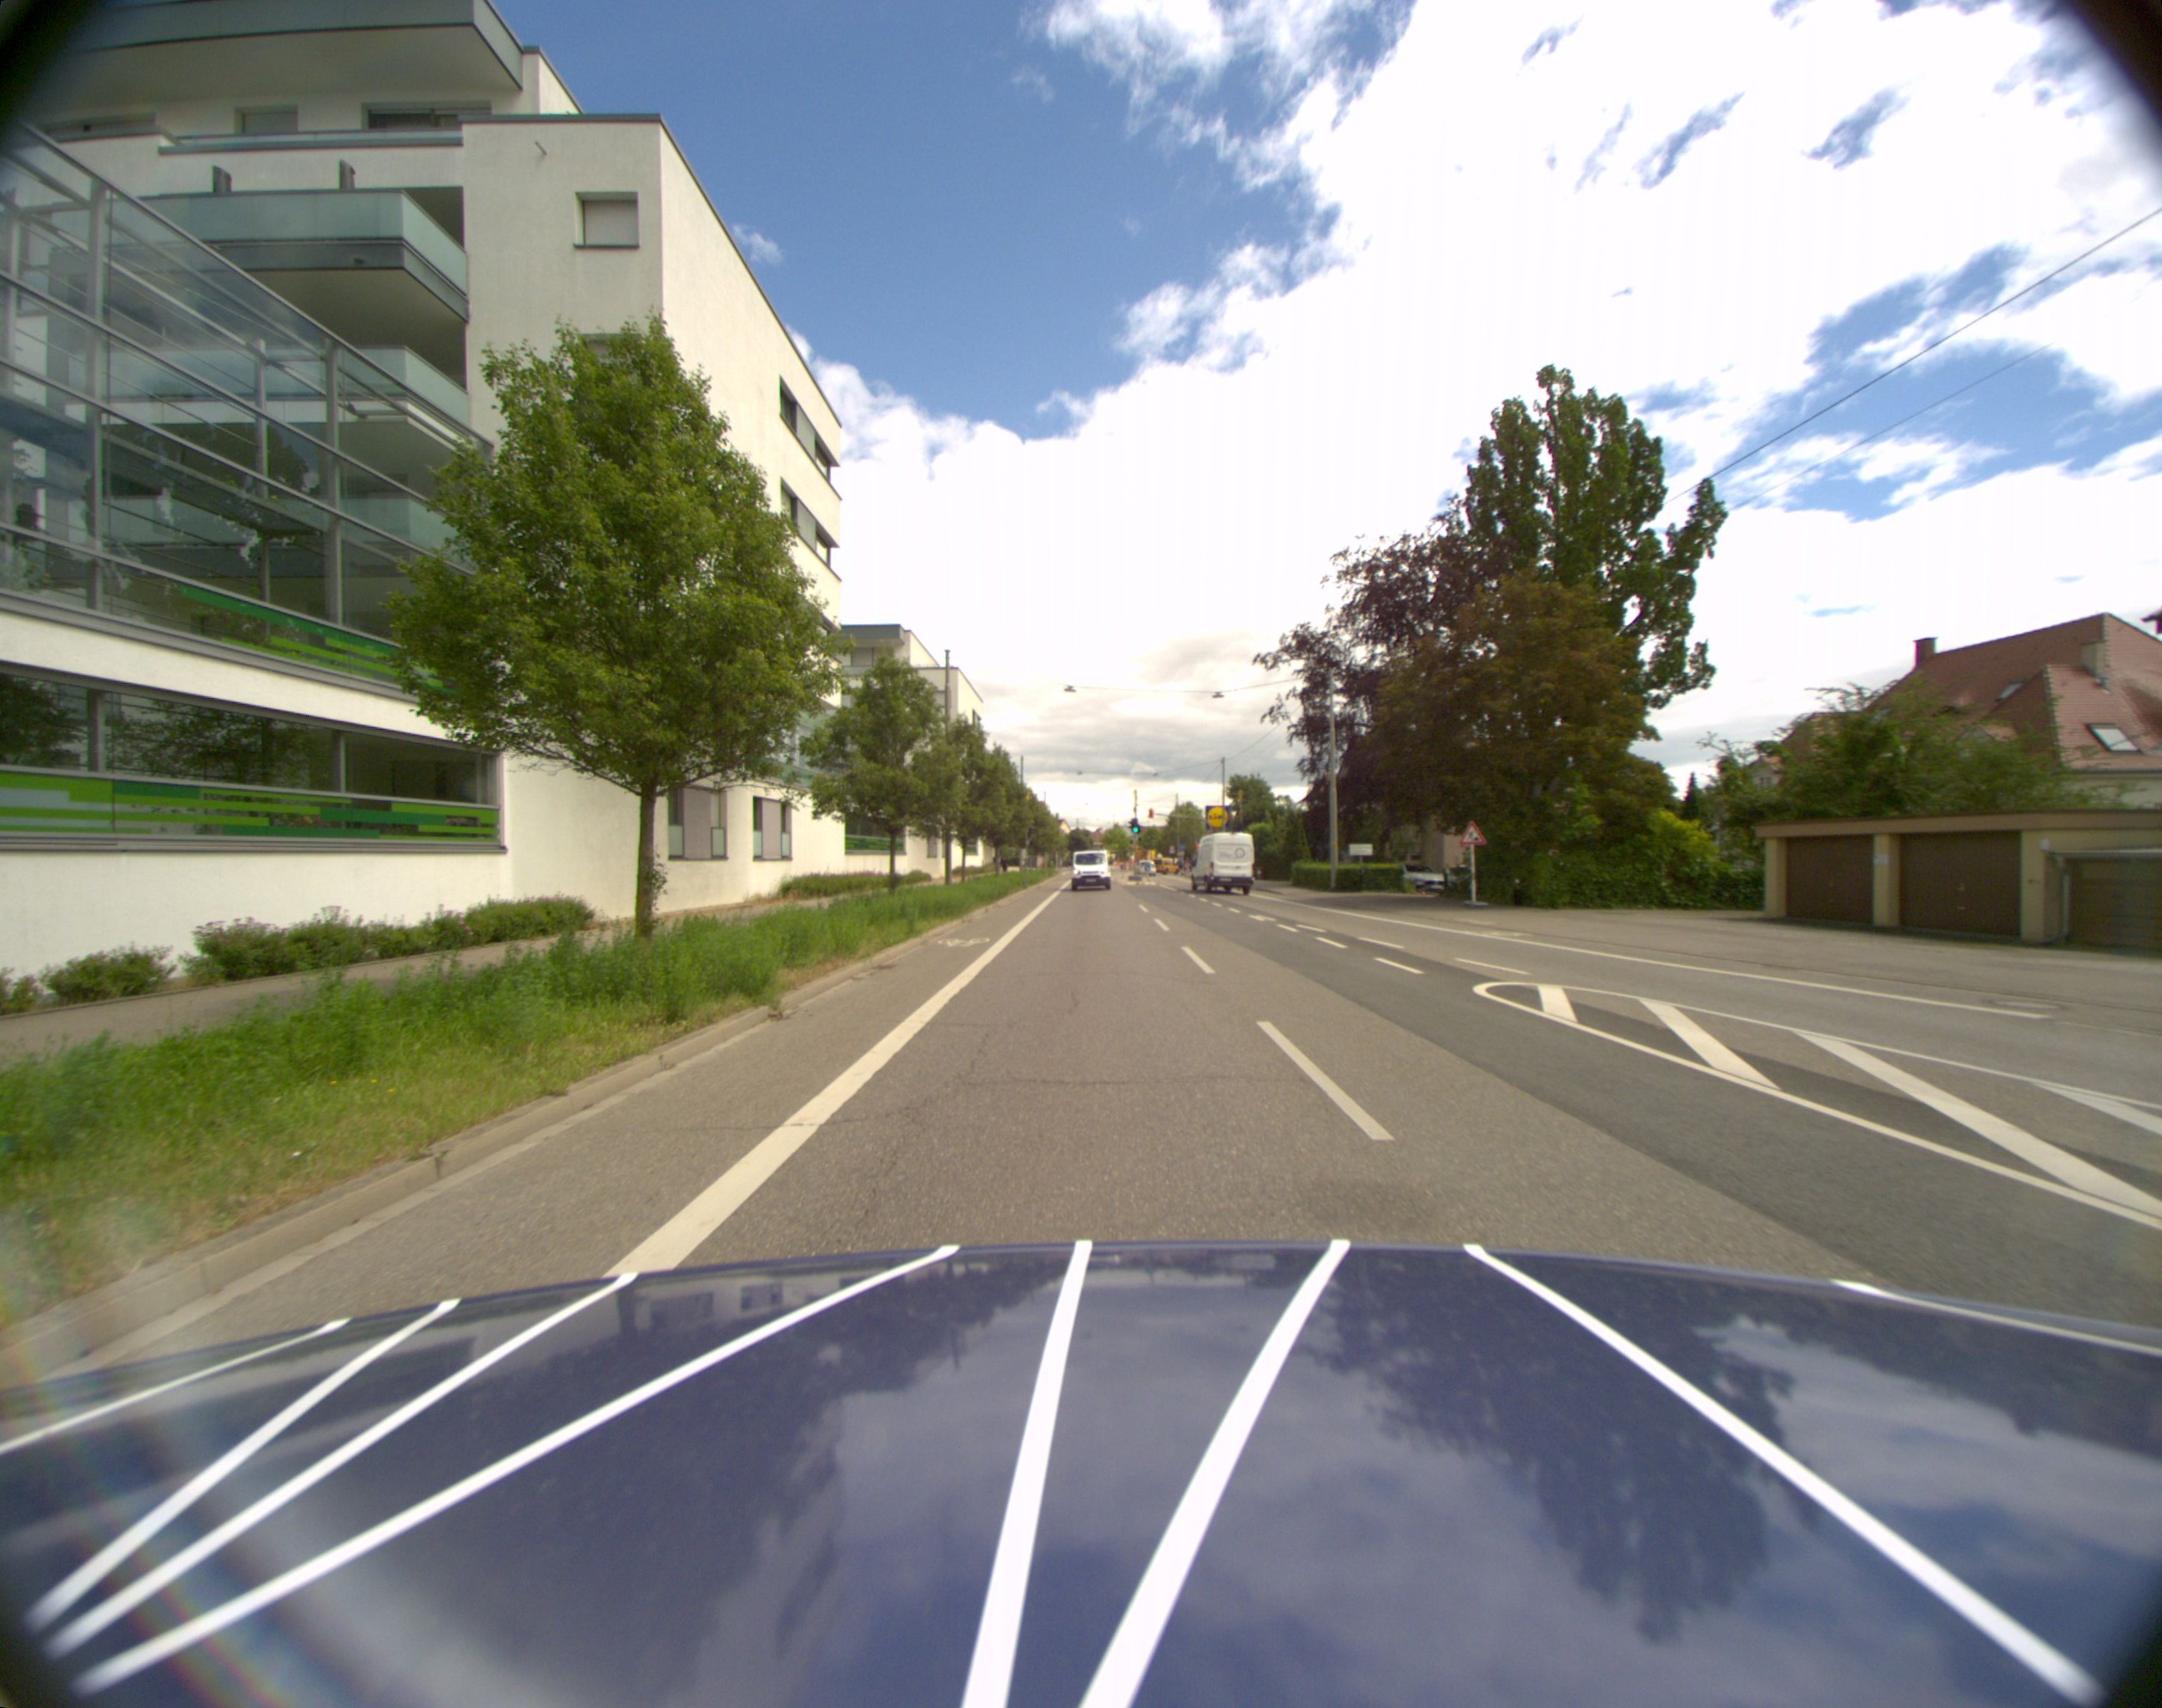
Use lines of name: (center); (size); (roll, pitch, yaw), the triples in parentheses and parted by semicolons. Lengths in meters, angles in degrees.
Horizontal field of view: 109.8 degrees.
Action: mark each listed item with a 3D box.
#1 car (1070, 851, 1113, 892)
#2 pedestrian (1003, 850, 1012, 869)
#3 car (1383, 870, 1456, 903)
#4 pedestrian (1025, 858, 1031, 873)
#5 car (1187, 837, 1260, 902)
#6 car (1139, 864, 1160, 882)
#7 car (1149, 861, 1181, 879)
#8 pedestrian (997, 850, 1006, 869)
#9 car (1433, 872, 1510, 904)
car: (0.502, 0.814, 37.675); (1.998, 1.905, 4.000); (-1, 0, 0)
pedestrian: (-7.247, 0.543, 75.251); (0.742, 1.875, 0.702); (-2, 1, -2)
car: (16.319, 1.523, 36.792); (1.666, 1.380, 3.522); (2, 0, -5)
pedestrian: (-6.036, 1.287, 86.758); (0.559, 1.649, 0.607); (-2, 1, 0)
car: (6.729, 0.728, 36.607); (2.149, 2.802, 6.147); (2, -1, -1)
car: (6.496, 1.783, 72.546); (1.611, 1.510, 3.240); (2, 0, 0)
car: (9.161, 1.757, 82.802); (1.995, 1.773, 4.007); (-2, 1, 31)
pedestrian: (-7.894, 0.577, 75.610); (0.621, 1.830, 0.588); (-3, 1, -26)
car: (19.206, 1.662, 37.559); (1.743, 1.380, 3.522); (1, 0, -5)
